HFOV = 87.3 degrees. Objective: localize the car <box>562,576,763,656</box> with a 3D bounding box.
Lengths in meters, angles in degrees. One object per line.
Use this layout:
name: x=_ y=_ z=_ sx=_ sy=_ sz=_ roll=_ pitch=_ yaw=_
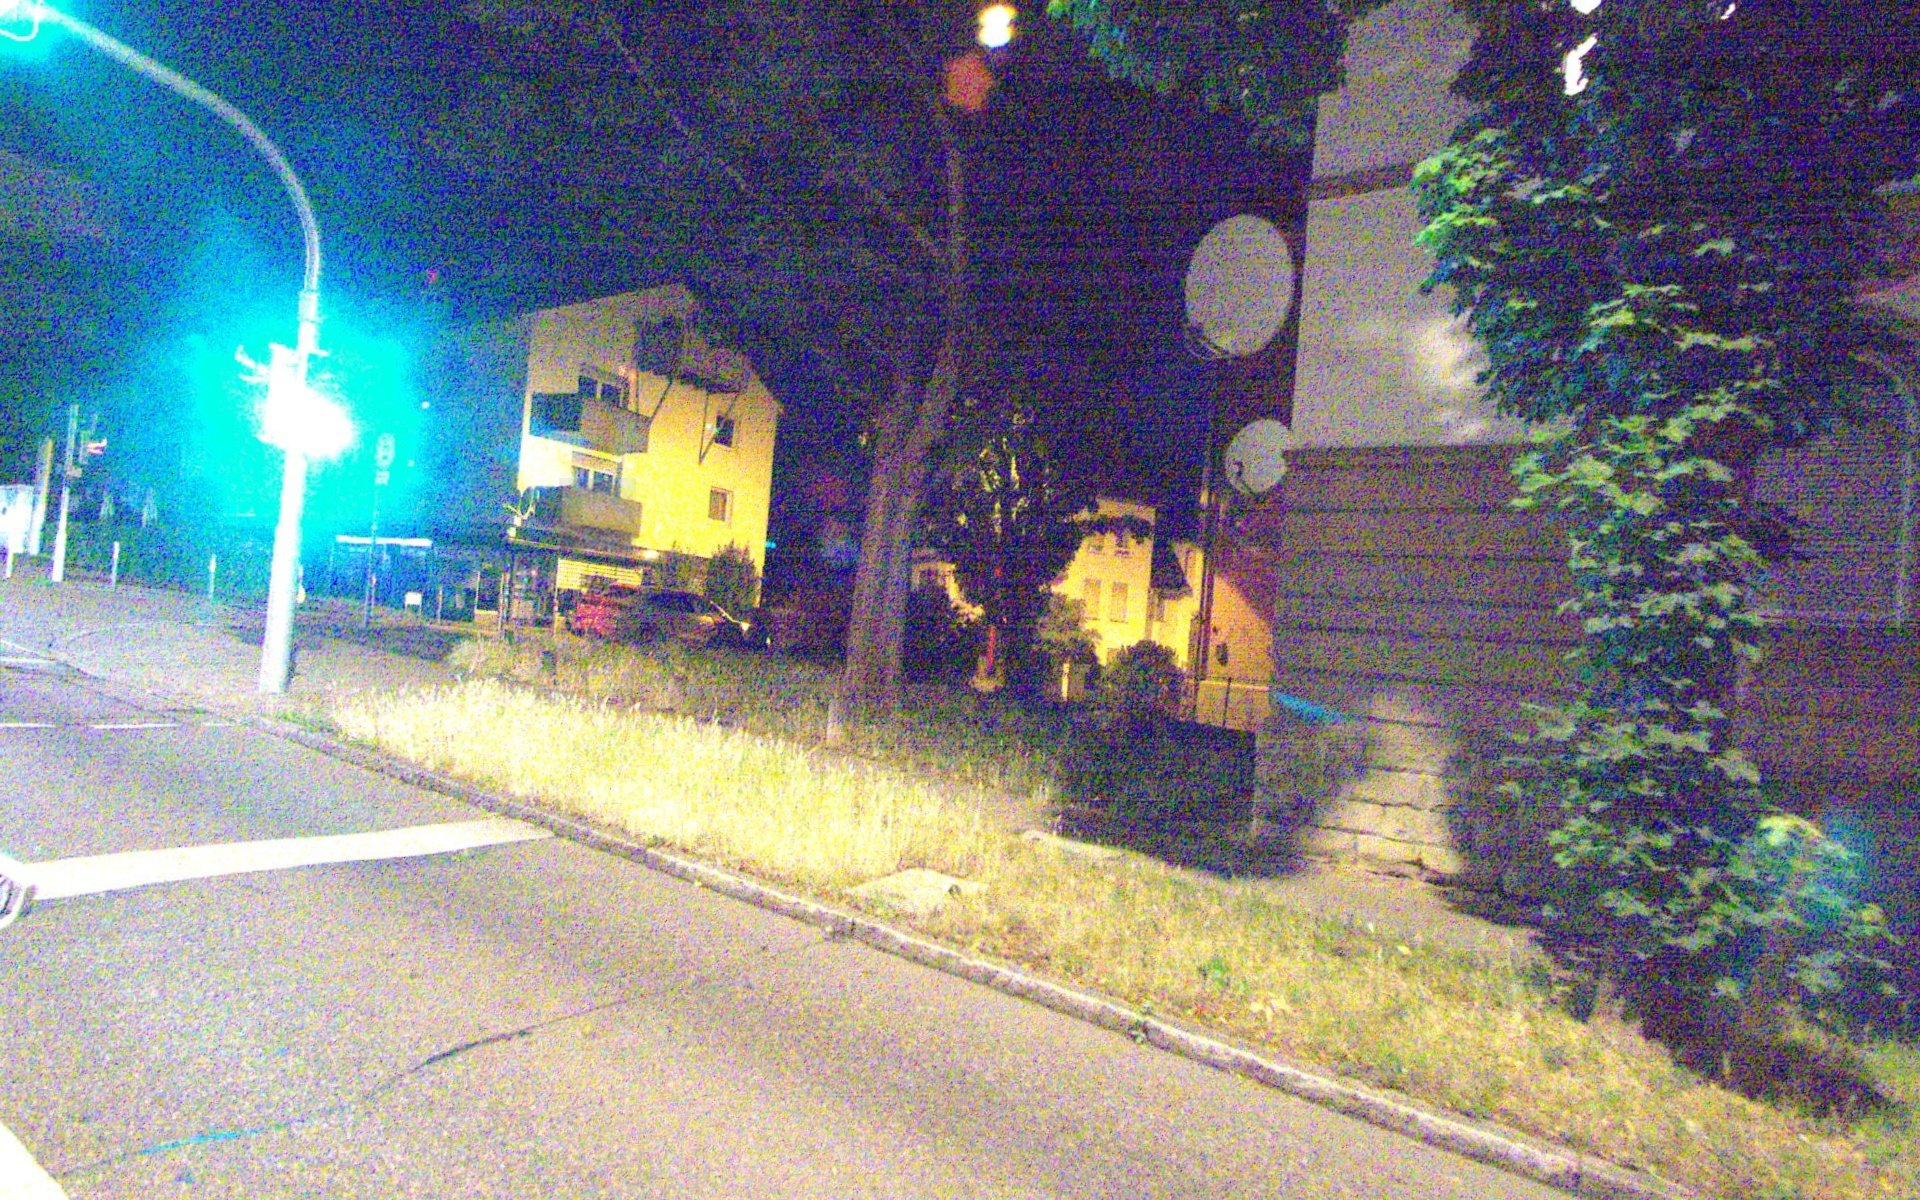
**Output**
car: x=-6.804 y=0.411 z=23.331 sx=1.740 sy=1.295 sz=4.131 roll=6 pitch=-3 yaw=39
